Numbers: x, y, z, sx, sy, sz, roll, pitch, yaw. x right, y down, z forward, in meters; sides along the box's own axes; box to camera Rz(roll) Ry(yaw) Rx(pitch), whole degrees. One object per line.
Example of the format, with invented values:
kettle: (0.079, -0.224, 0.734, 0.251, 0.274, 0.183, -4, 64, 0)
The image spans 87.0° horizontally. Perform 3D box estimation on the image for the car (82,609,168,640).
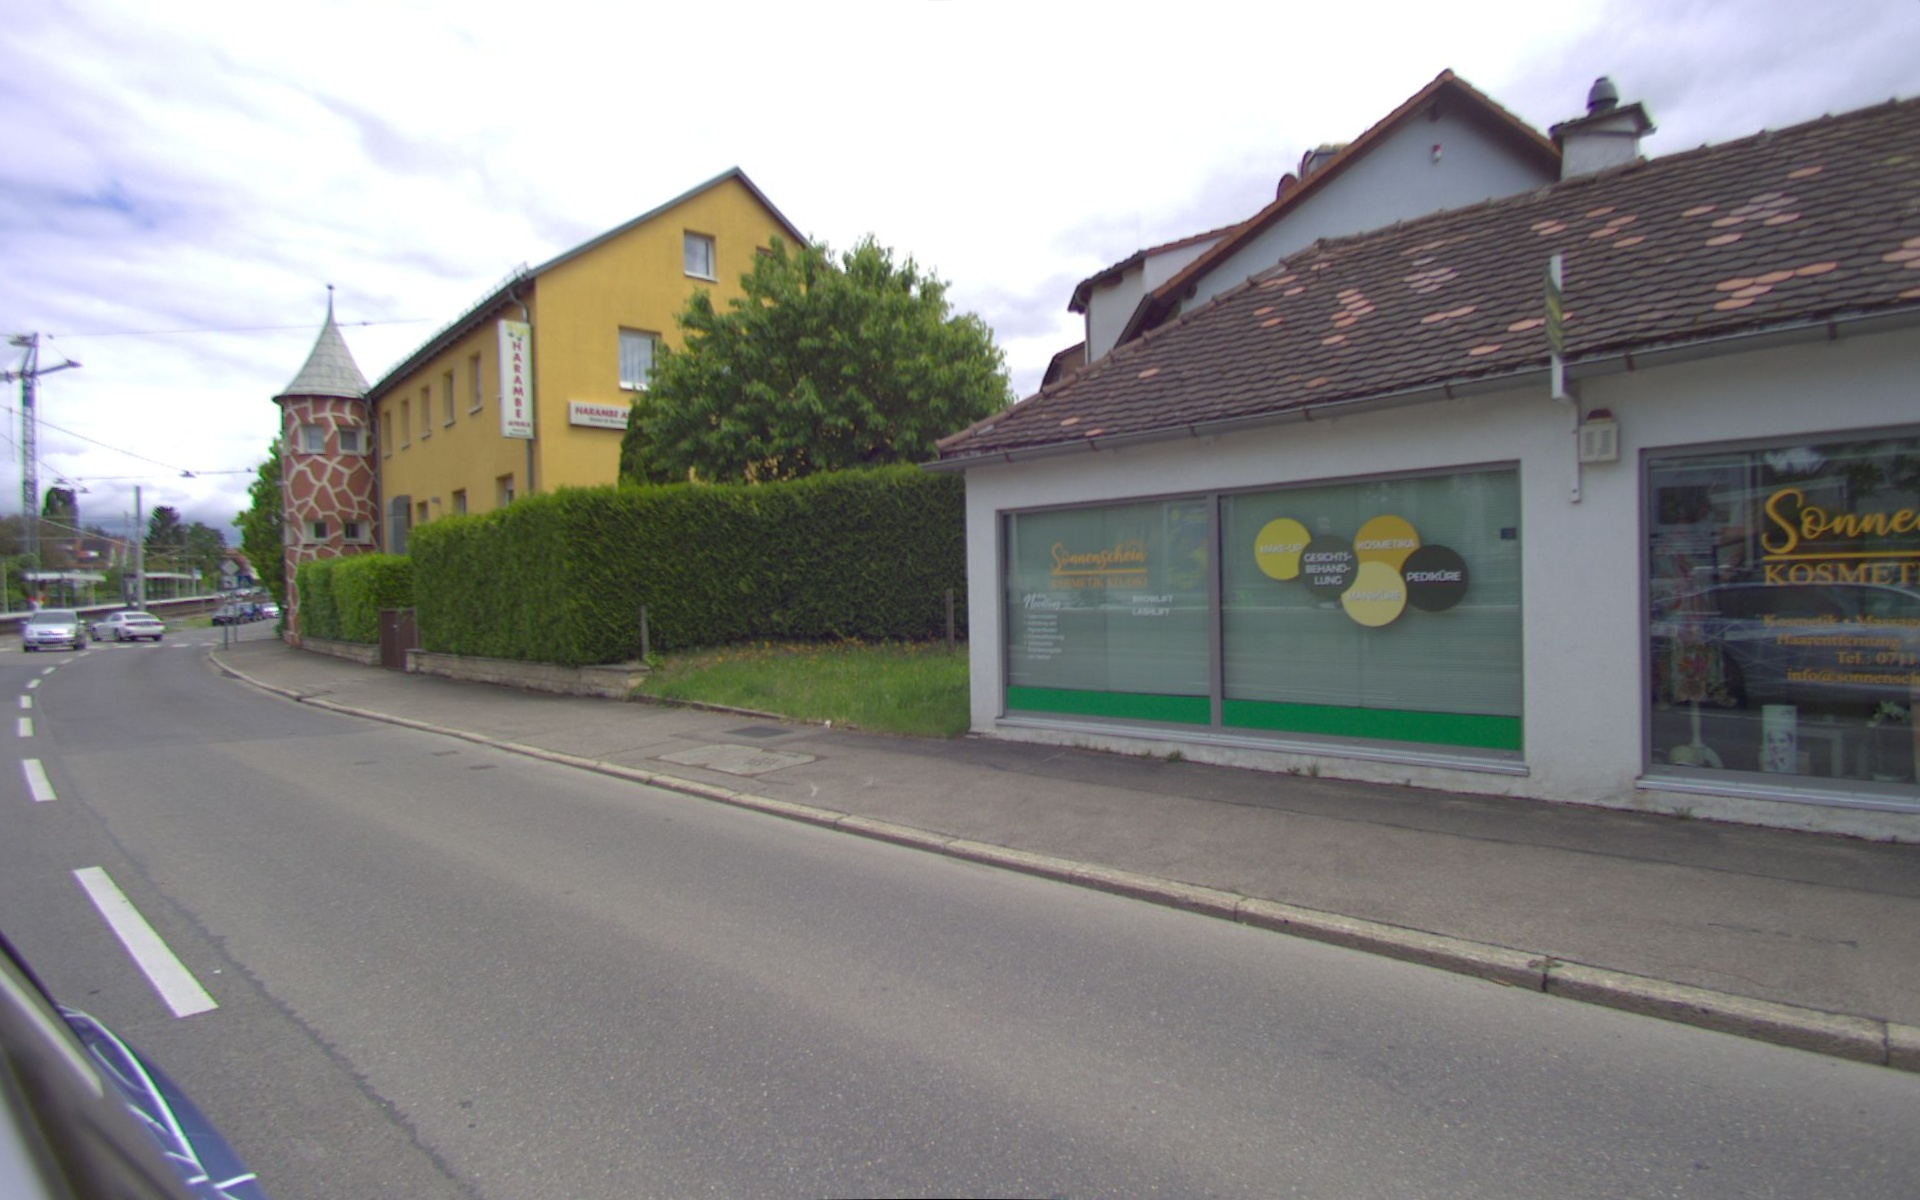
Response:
car: (-41.614, 1.205, 50.427, 4.444, 1.430, 1.806, 0, -1, 29)

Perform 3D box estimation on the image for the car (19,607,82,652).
car: (-35.178, 1.120, 39.202, 1.701, 1.580, 3.932, -2, 1, -42)

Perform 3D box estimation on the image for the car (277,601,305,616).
car: (-69.324, 0.880, 104.883, 1.823, 1.386, 4.013, -2, 1, -26)

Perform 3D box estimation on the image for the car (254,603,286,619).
car: (-64.683, 1.011, 94.906, 1.823, 1.386, 4.013, -2, 1, -26)

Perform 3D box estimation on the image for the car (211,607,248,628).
car: (-57.201, 1.348, 79.340, 1.791, 1.513, 4.132, -2, 1, -28)

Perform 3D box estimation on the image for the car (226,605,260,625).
car: (-60.257, 1.228, 85.159, 1.791, 1.513, 4.132, -2, 1, -28)
